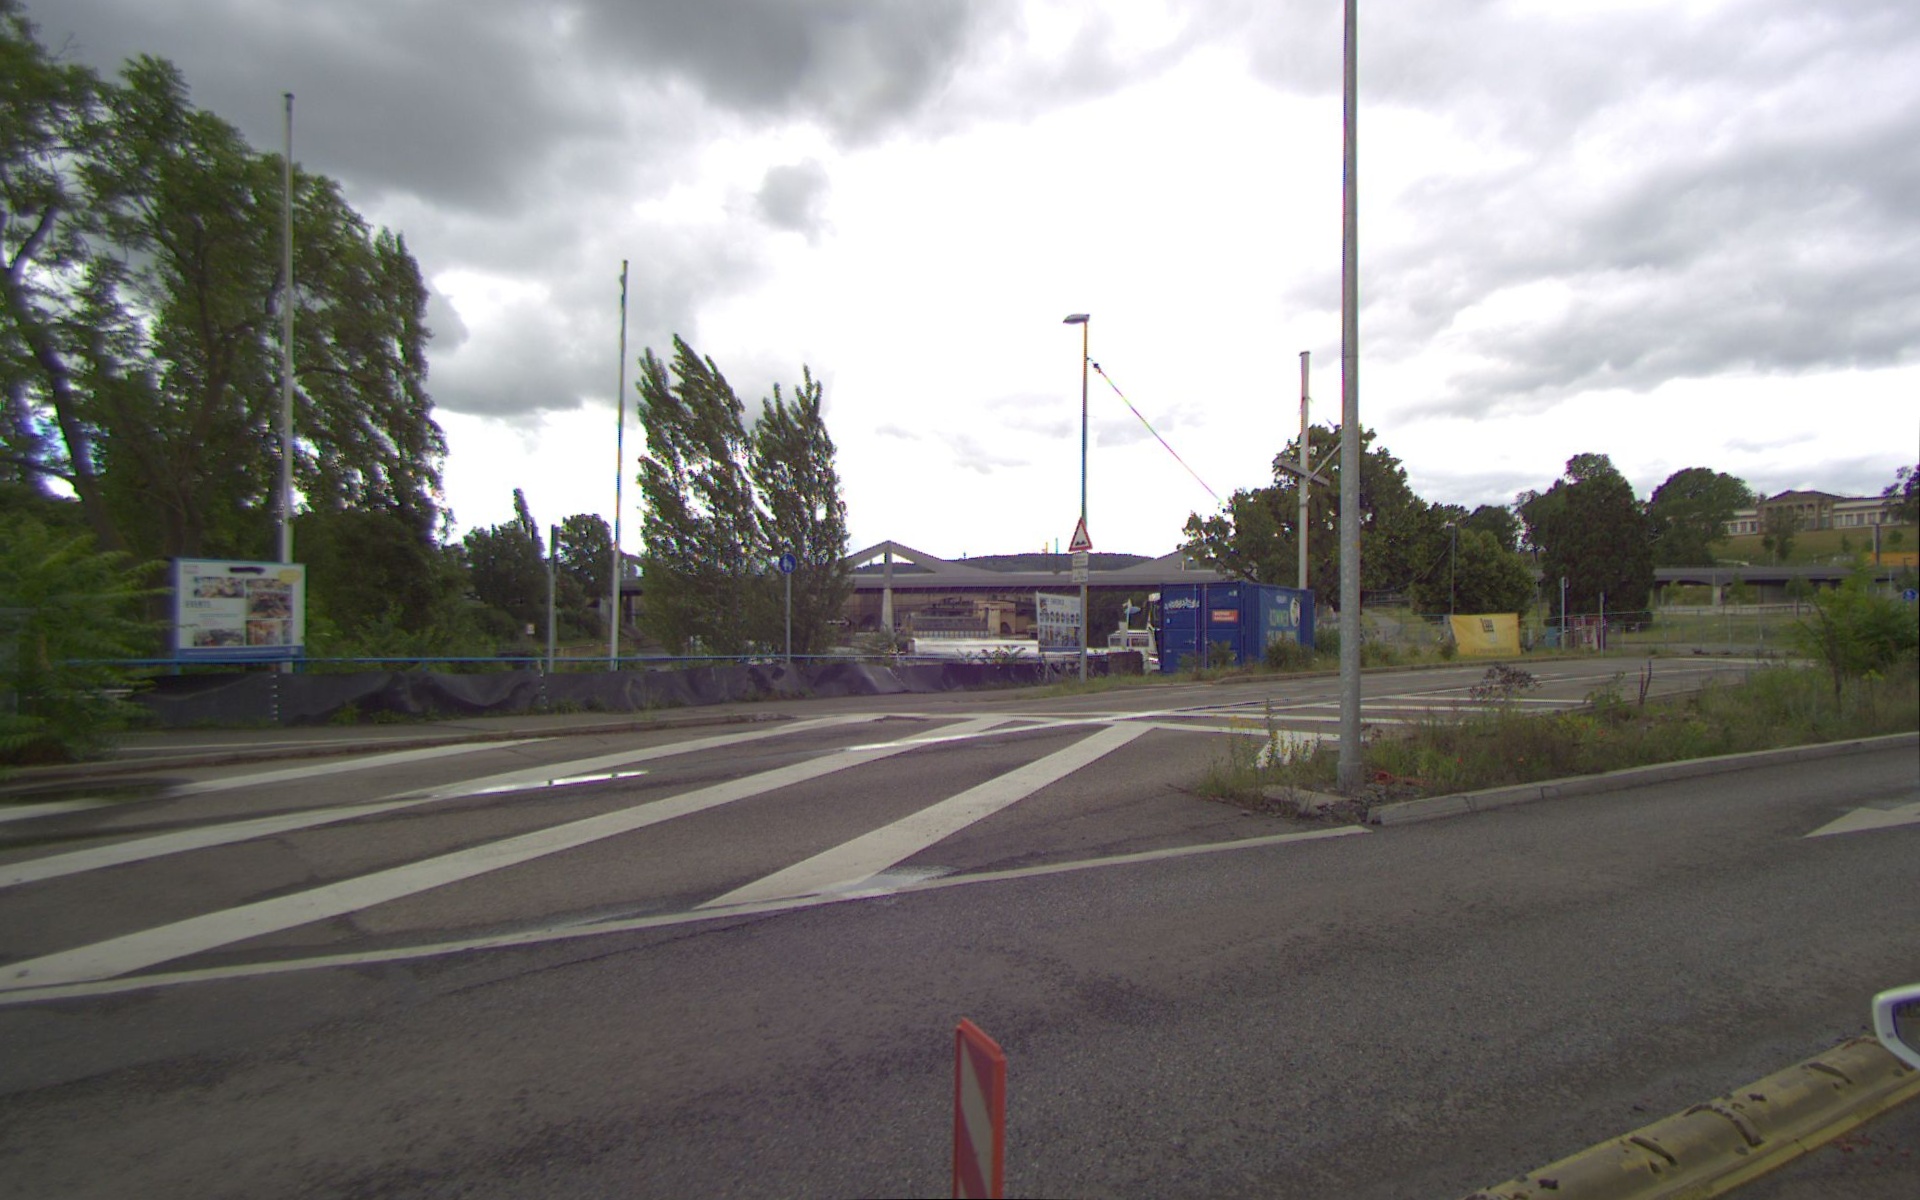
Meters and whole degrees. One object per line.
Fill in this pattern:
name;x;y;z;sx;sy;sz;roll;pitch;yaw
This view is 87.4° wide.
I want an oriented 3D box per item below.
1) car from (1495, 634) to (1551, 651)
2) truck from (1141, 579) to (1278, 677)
car;43.709;3.276;77.976;3.436;1.308;1.603;-1;-1;8
truck;9.866;1.043;38.935;2.753;3.380;8.460;-2;-2;31
